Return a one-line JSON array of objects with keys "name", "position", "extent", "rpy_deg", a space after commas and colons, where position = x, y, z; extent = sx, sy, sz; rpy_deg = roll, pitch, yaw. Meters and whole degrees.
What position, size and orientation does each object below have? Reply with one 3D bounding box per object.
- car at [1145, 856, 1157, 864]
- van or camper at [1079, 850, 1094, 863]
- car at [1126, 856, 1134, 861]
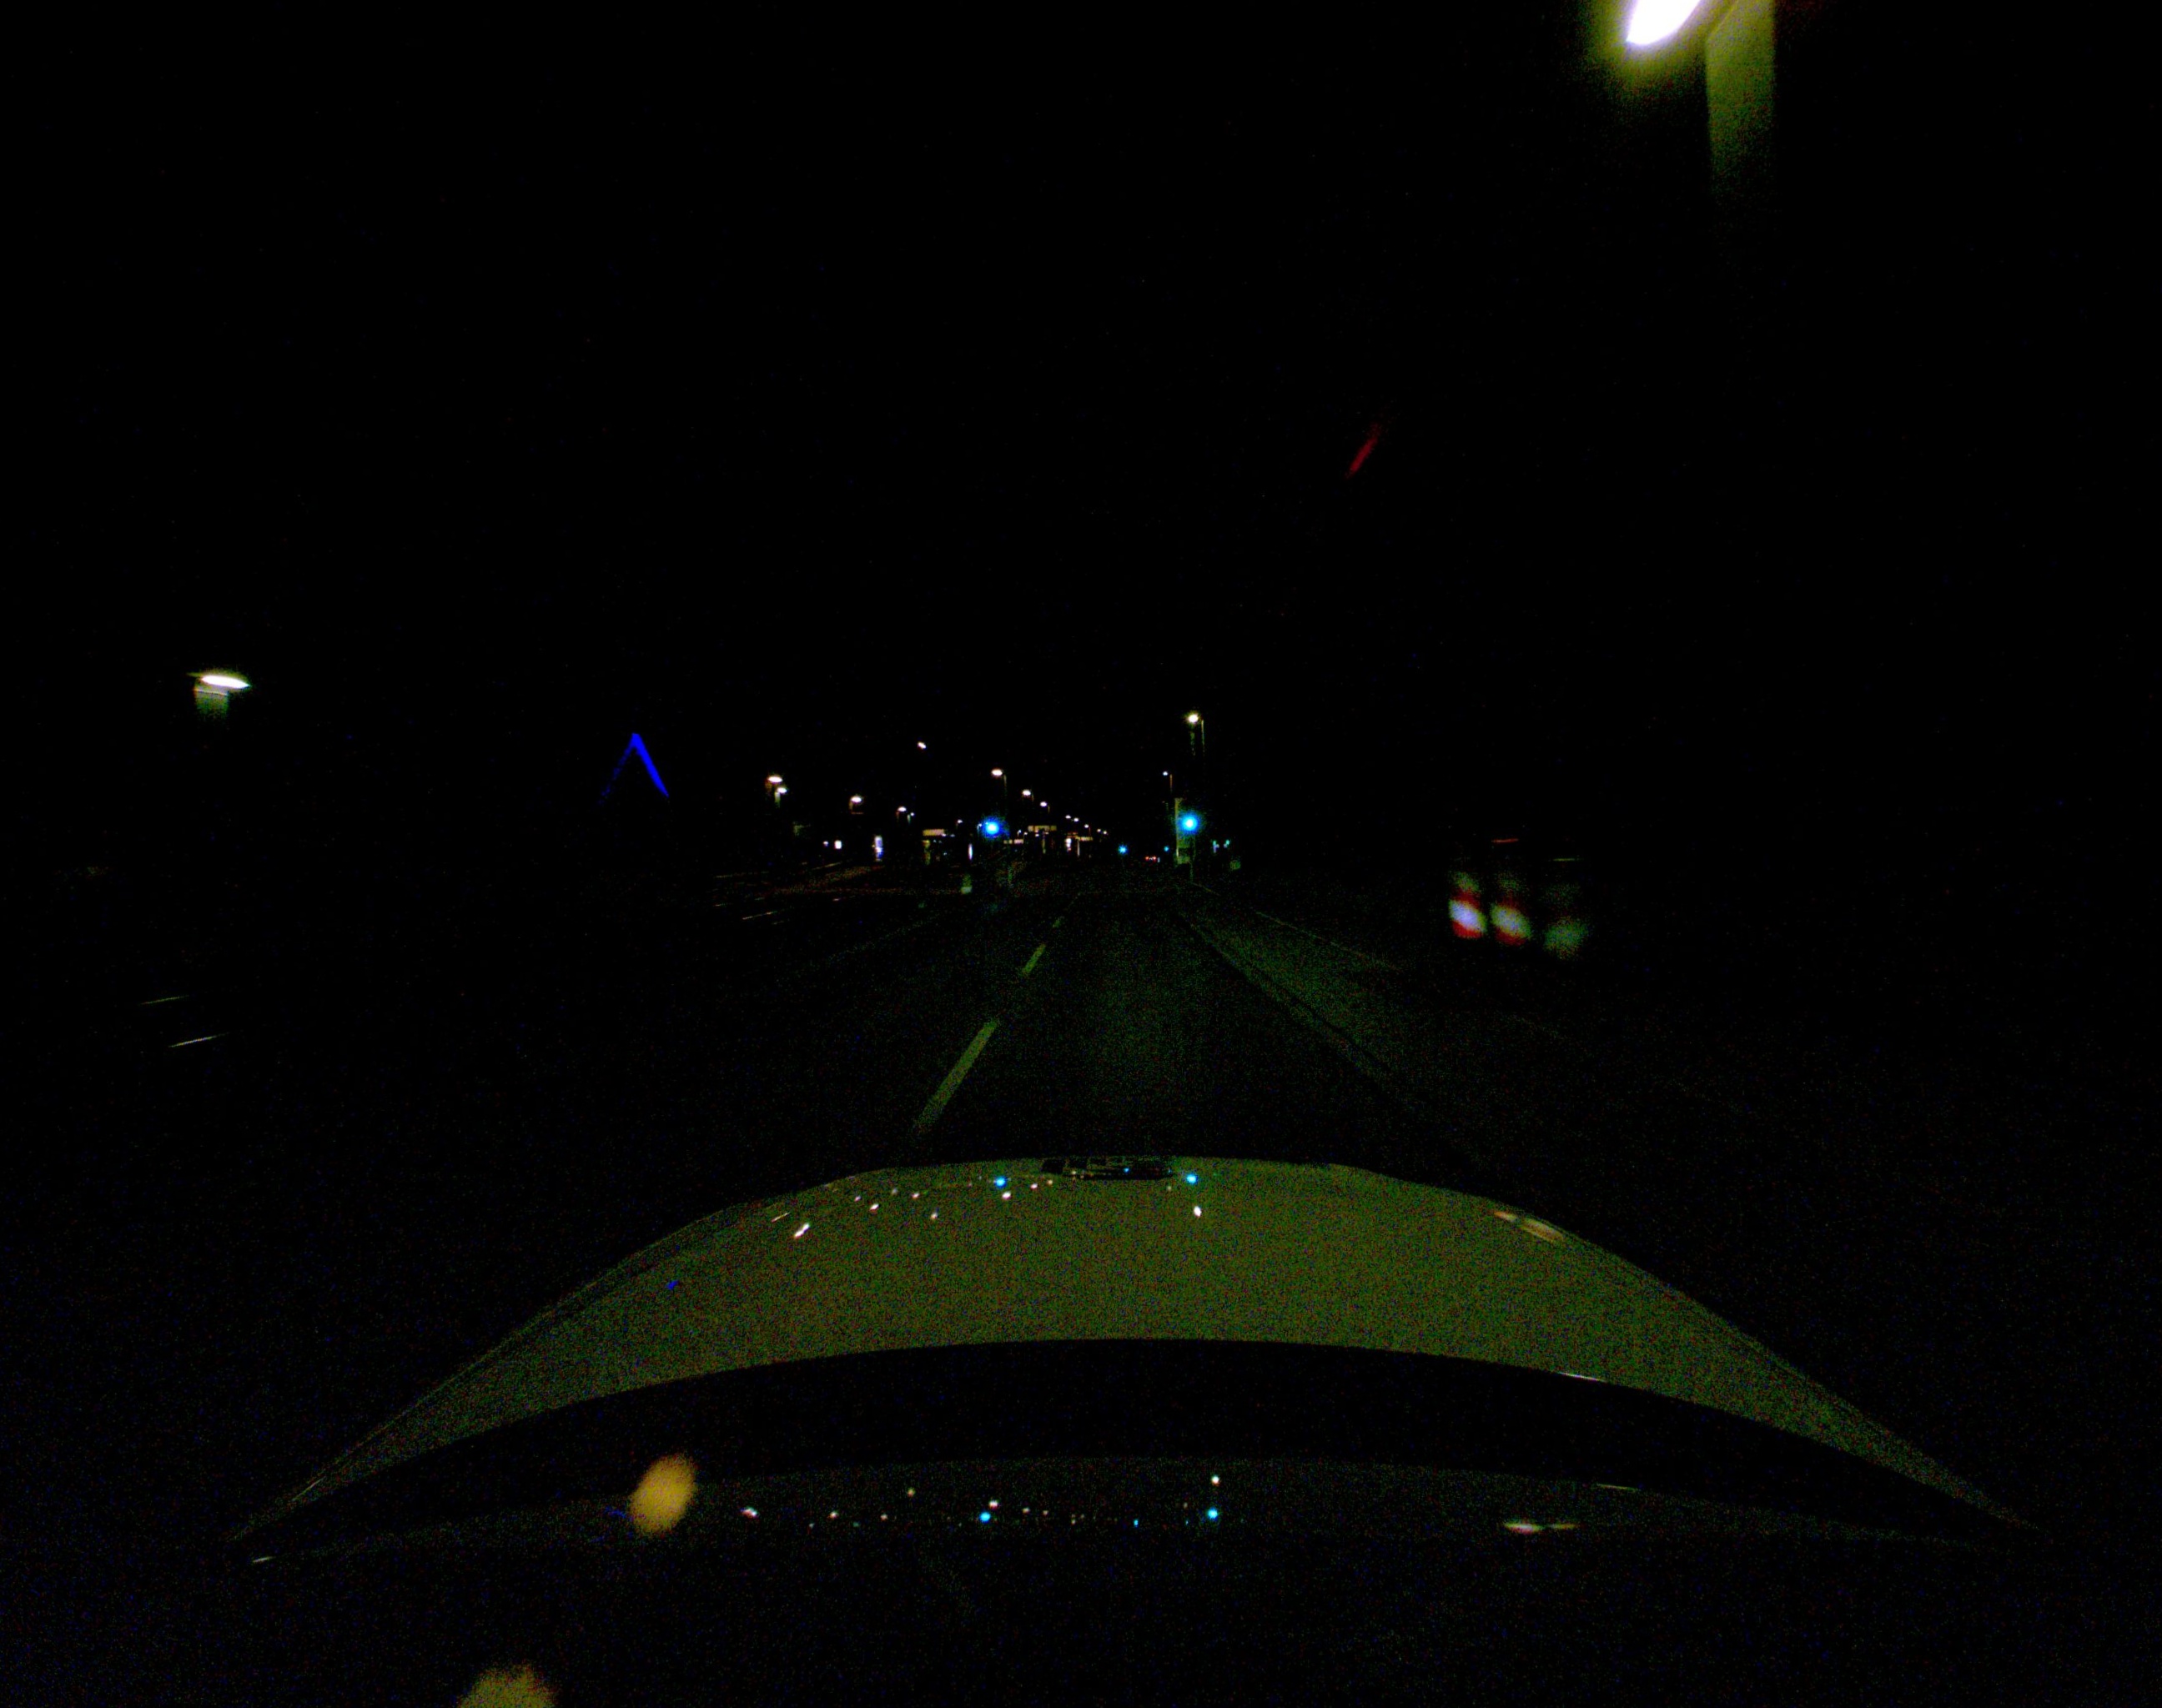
[{"name": "car", "position": [13.114, 1.131, 152.379], "extent": [2.150, 1.583, 4.021], "rpy_deg": [0, 0, 7]}, {"name": "van or camper", "position": [1.192, 0.507, 175.233], "extent": [2.260, 2.647, 5.675], "rpy_deg": [-4, 0, 7]}, {"name": "car", "position": [15.098, 1.352, 249.765], "extent": [1.981, 1.628, 4.691], "rpy_deg": [-2, 0, 11]}]
